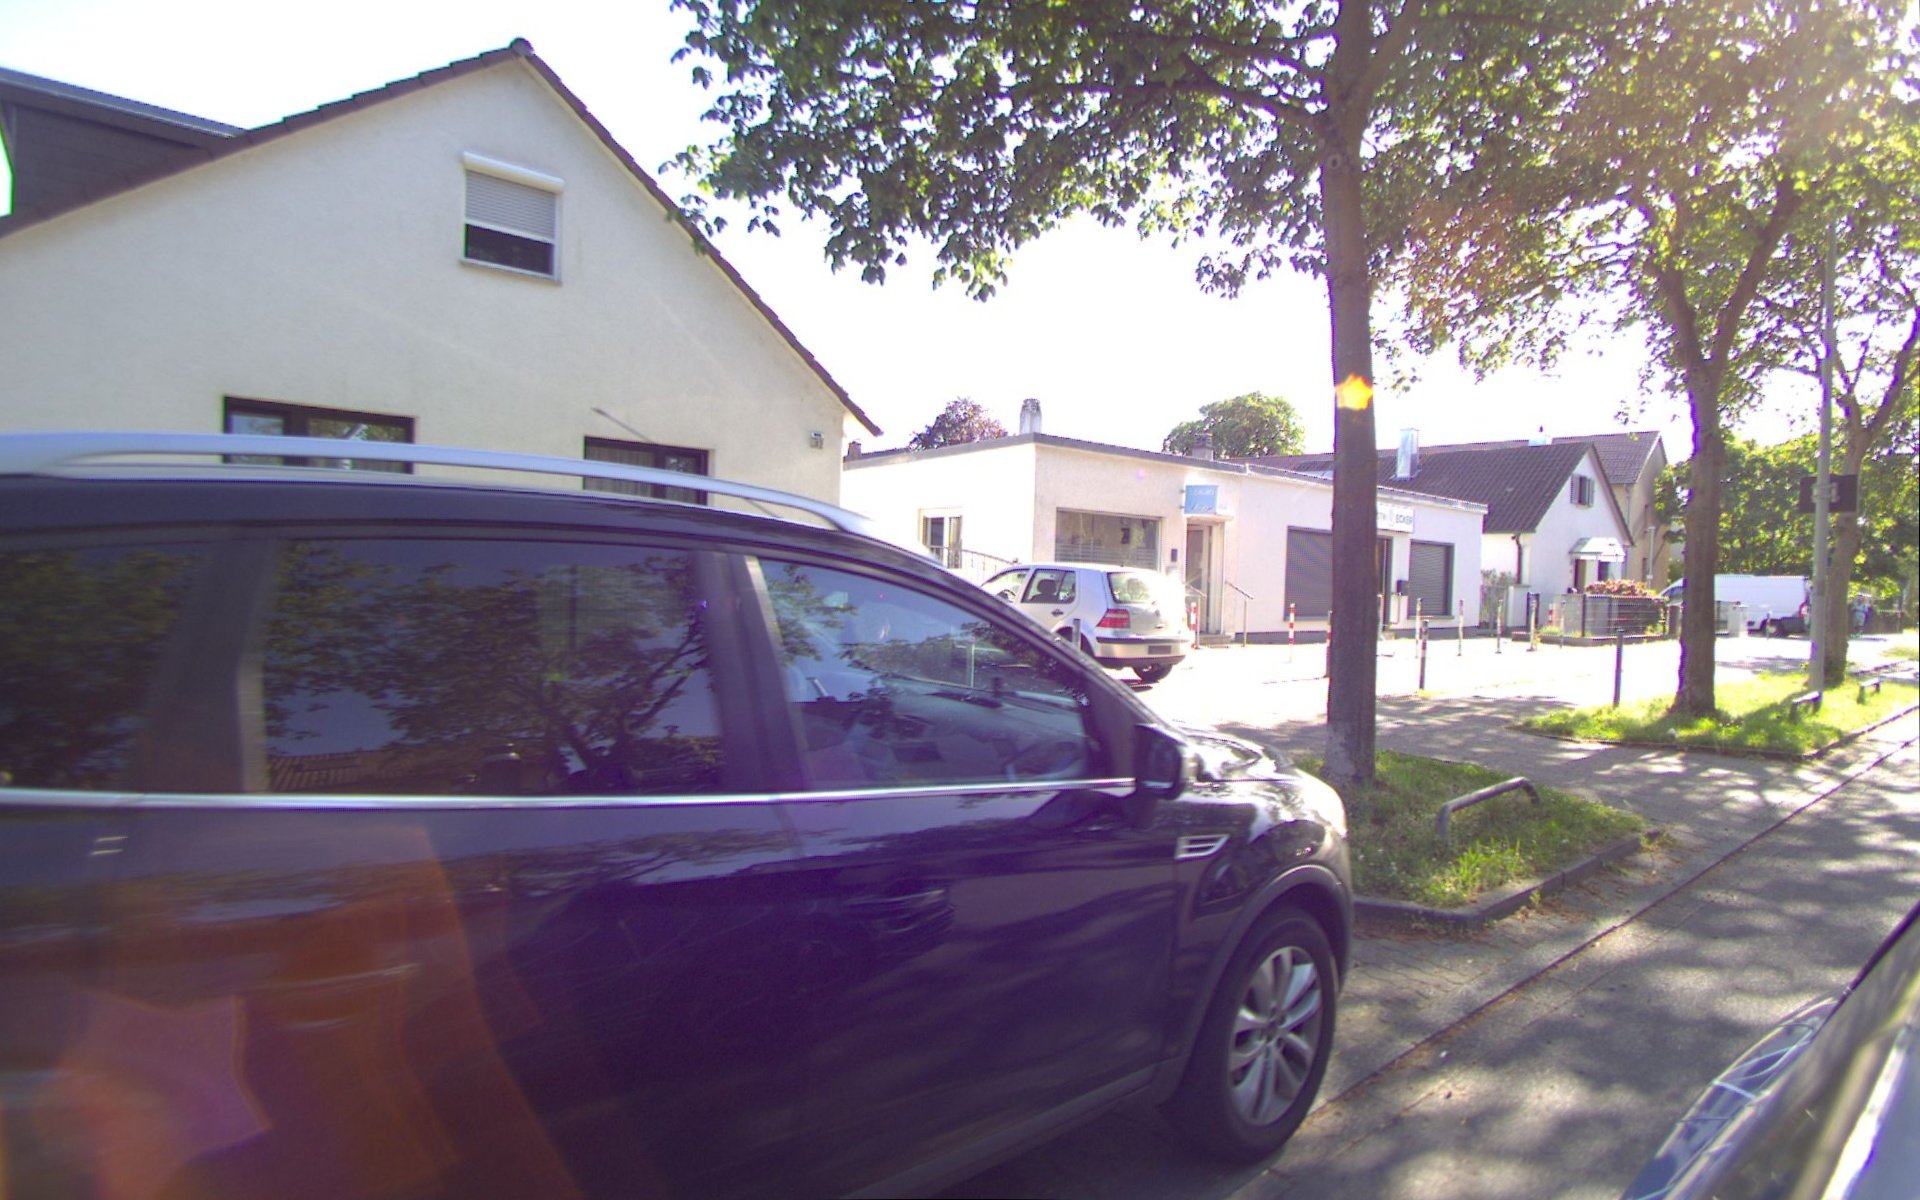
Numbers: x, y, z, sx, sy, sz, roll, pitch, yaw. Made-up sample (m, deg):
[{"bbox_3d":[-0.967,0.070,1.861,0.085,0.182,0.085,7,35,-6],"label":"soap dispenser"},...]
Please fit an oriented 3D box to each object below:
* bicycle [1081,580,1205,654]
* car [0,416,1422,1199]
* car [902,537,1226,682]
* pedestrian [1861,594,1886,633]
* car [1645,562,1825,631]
[{"bbox_3d":[2.882,0.250,16.127,0.566,1.011,1.962,3,2,-41],"label":"bicycle"},{"bbox_3d":[-0.927,0.572,2.280,4.391,1.645,1.857,-1,4,-41],"label":"car"},{"bbox_3d":[1.226,0.045,13.345,1.868,1.507,3.996,2,3,-41],"label":"car"},{"bbox_3d":[41.558,0.615,46.046,0.601,1.726,0.638,3,3,-41],"label":"pedestrian"},{"bbox_3d":[32.087,-0.183,42.038,2.227,2.570,5.602,1,2,-43],"label":"car"}]
